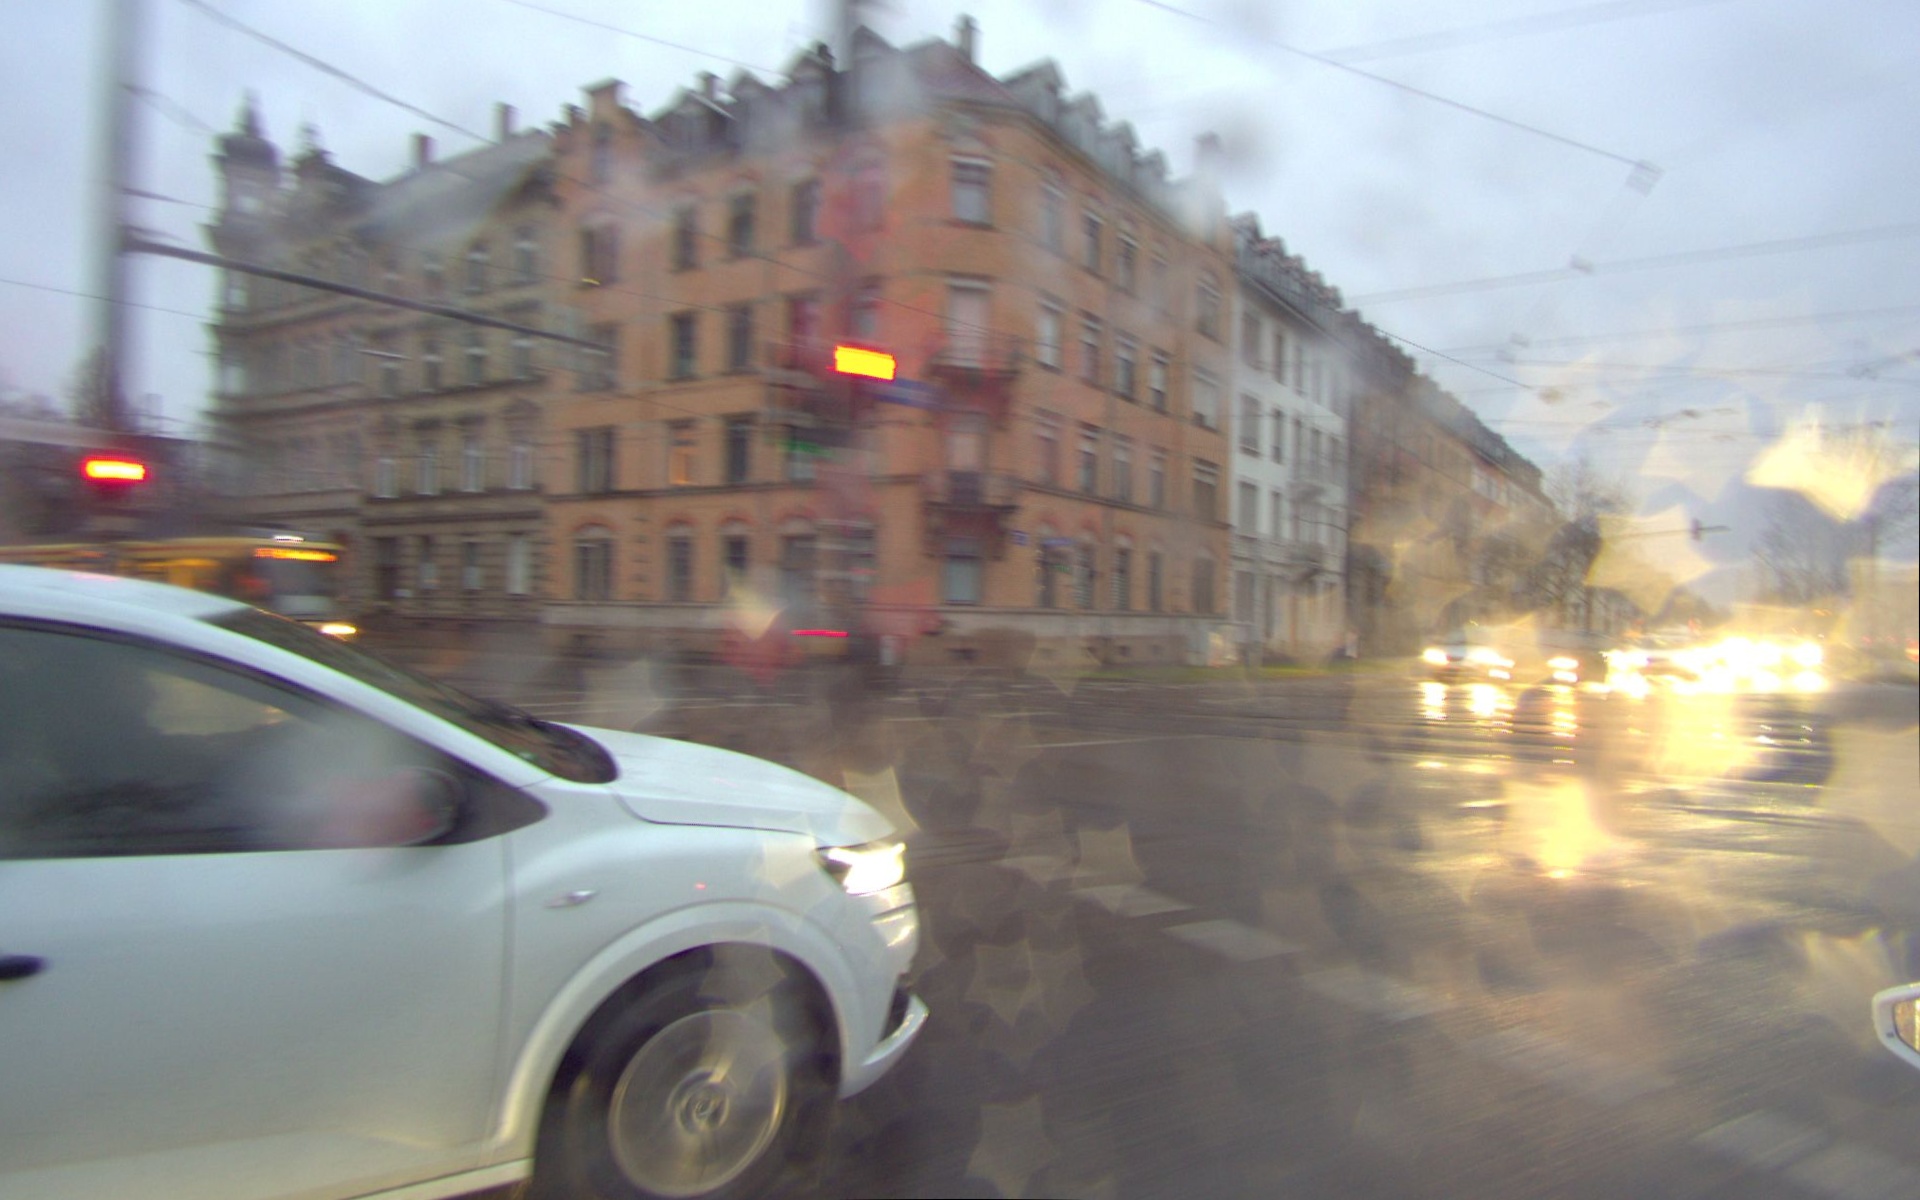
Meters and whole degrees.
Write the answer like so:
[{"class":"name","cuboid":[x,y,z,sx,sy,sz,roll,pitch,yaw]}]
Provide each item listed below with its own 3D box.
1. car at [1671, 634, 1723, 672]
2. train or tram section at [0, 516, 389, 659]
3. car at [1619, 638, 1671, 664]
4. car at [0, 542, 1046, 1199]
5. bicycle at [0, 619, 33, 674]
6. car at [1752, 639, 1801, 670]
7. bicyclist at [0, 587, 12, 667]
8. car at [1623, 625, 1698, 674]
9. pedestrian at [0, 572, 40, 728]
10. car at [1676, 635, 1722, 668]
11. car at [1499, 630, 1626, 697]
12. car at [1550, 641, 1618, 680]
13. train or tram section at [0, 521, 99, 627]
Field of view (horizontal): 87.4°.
[{"class":"car","cuboid":[31.104,2.223,42.362,1.470,1.506,3.137,1,-1,41]},{"class":"train or tram section","cuboid":[-22.213,-0.518,27.863,16.013,3.231,3.164,2,0,29]},{"class":"car","cuboid":[33.815,2.500,49.540,1.582,1.149,3.768,0,-1,43]},{"class":"car","cuboid":[-1.869,0.665,2.415,3.954,1.506,1.618,1,-1,-31]},{"class":"bicycle","cuboid":[-17.530,0.796,17.827,1.944,0.912,0.507,2,0,10]},{"class":"car","cuboid":[36.264,2.391,44.659,1.517,1.262,4.072,0,-1,37]},{"class":"bicyclist","cuboid":[-17.517,0.470,17.826,0.949,1.409,0.507,2,0,10]},{"class":"car","cuboid":[23.559,1.633,33.729,1.660,1.476,4.314,1,-1,40]},{"class":"pedestrian","cuboid":[-11.294,0.573,11.761,0.622,1.795,0.464,2,-1,-31]},{"class":"car","cuboid":[38.189,2.631,51.875,1.660,1.573,4.102,1,-1,40]},{"class":"car","cuboid":[14.722,1.501,24.461,4.035,1.476,1.664,2,-1,-44]},{"class":"car","cuboid":[24.560,2.329,39.451,1.660,1.372,4.367,1,-1,40]},{"class":"train or tram section","cuboid":[-33.983,-0.975,34.406,10.949,3.280,3.164,2,0,29]}]
